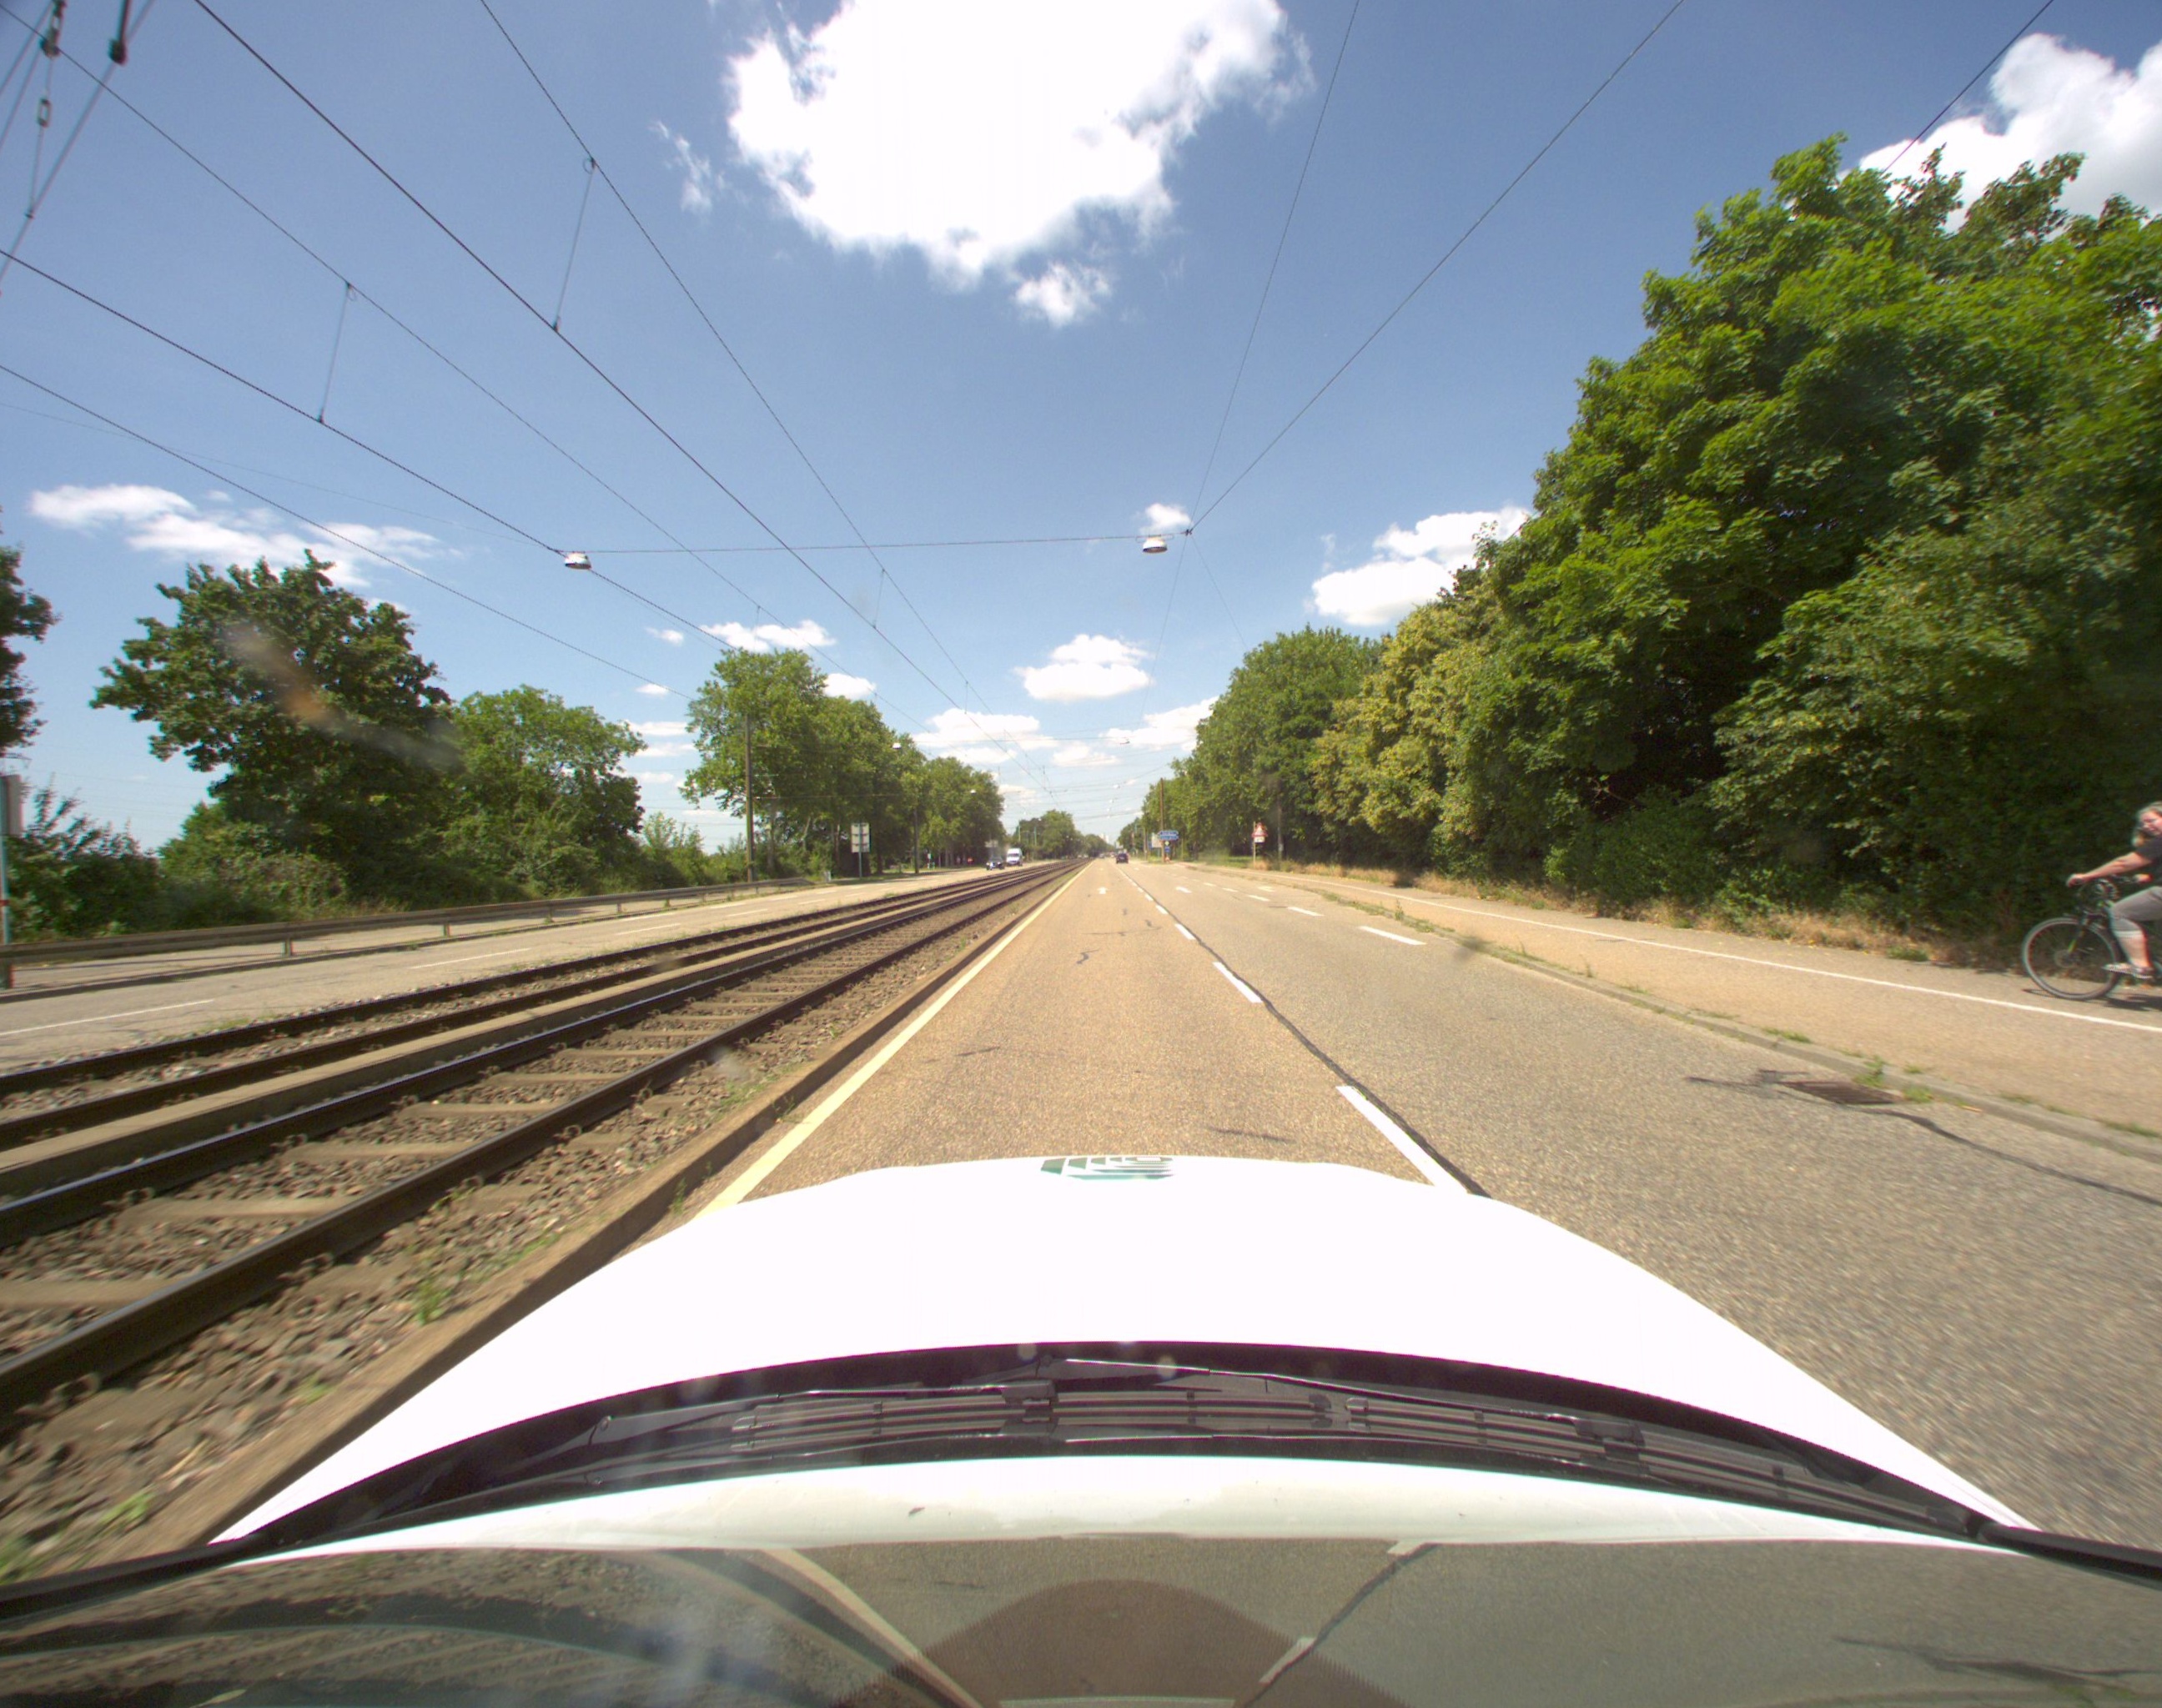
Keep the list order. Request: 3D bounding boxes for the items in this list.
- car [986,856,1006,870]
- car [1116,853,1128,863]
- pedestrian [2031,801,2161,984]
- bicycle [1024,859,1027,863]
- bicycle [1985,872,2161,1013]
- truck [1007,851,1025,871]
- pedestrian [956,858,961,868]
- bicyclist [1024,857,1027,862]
[{"bbox_3d":[-10.370,1.115,99.605,1.811,1.514,4.429,-3,0,2],"label":"car"},{"bbox_3d":[6.011,0.523,120.685,1.581,1.343,3.272,-2,1,0],"label":"car"},{"bbox_3d":[8.439,0.279,6.427,0.625,1.374,1.051,-2,0,2],"label":"pedestrian"},{"bbox_3d":[-13.771,1.809,202.587,0.513,0.857,1.933,-3,0,4],"label":"bicycle"},{"bbox_3d":[8.461,0.682,6.444,0.557,1.024,1.848,-2,0,2],"label":"bicycle"},{"bbox_3d":[-9.950,1.001,125.089,2.046,2.939,6.321,-3,0,2],"label":"truck"},{"bbox_3d":[-18.443,1.325,122.629,0.512,1.551,0.703,-3,0,-4],"label":"pedestrian"},{"bbox_3d":[-13.803,1.443,202.518,0.452,1.272,0.398,-2,0,3],"label":"bicyclist"}]
